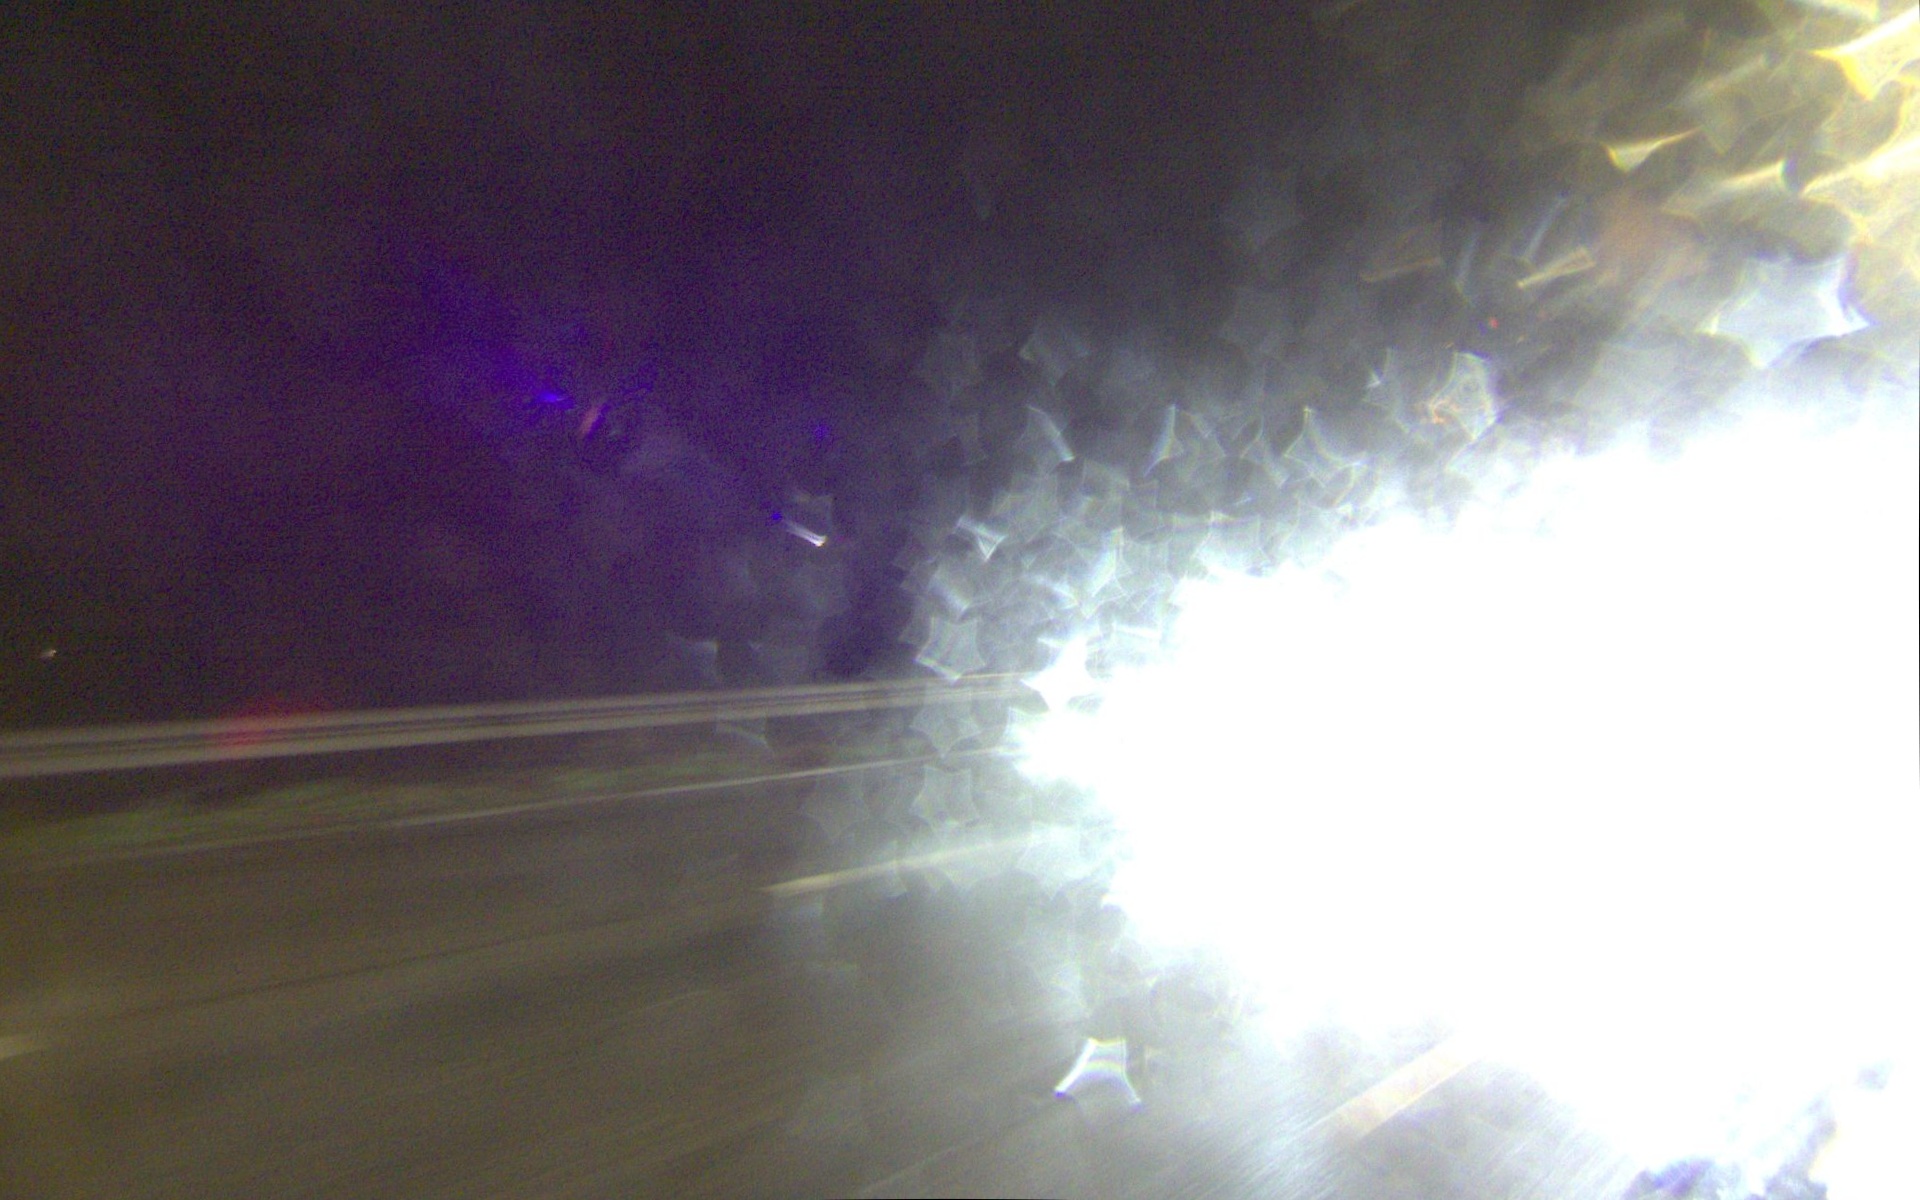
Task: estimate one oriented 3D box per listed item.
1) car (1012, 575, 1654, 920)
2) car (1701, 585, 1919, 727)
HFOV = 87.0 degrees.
[{"bbox_3d":[2.604,0.695,6.520,4.474,1.526,1.677,0,-3,-37],"label":"car"},{"bbox_3d":[11.523,0.610,13.222,4.332,1.541,1.711,-1,0,-36],"label":"car"}]
